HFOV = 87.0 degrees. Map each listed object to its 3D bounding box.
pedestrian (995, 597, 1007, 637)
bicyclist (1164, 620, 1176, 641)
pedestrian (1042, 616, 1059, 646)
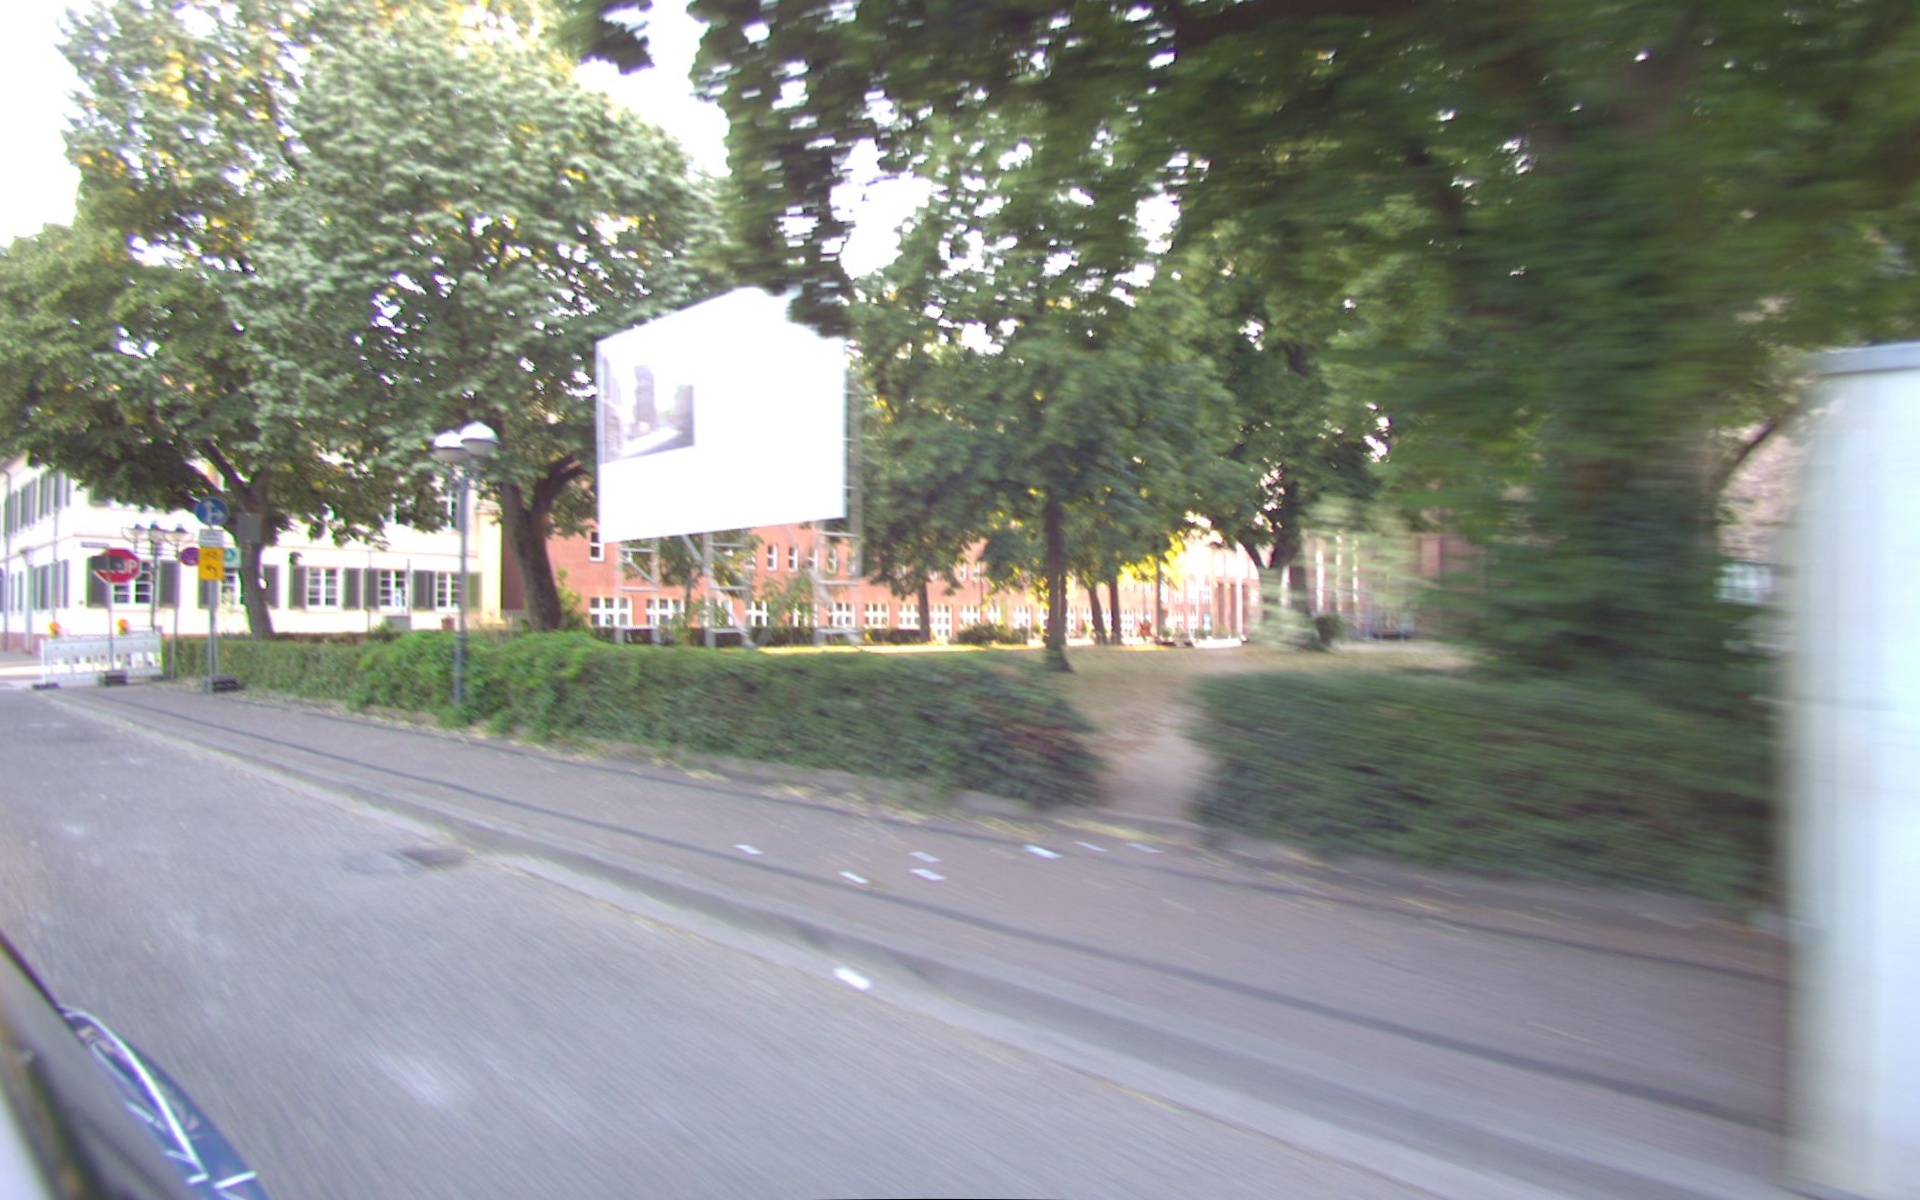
[{"bbox_3d":[2.048,0.850,50.458,0.459,2.029,0.404,-1,-2,29],"label":"pedestrian"},{"bbox_3d":[15.806,2.312,76.233,0.630,1.563,0.667,-2,-2,42],"label":"bicyclist"},{"bbox_3d":[5.129,1.745,57.332,0.654,1.706,0.742,-2,-2,42],"label":"pedestrian"}]
